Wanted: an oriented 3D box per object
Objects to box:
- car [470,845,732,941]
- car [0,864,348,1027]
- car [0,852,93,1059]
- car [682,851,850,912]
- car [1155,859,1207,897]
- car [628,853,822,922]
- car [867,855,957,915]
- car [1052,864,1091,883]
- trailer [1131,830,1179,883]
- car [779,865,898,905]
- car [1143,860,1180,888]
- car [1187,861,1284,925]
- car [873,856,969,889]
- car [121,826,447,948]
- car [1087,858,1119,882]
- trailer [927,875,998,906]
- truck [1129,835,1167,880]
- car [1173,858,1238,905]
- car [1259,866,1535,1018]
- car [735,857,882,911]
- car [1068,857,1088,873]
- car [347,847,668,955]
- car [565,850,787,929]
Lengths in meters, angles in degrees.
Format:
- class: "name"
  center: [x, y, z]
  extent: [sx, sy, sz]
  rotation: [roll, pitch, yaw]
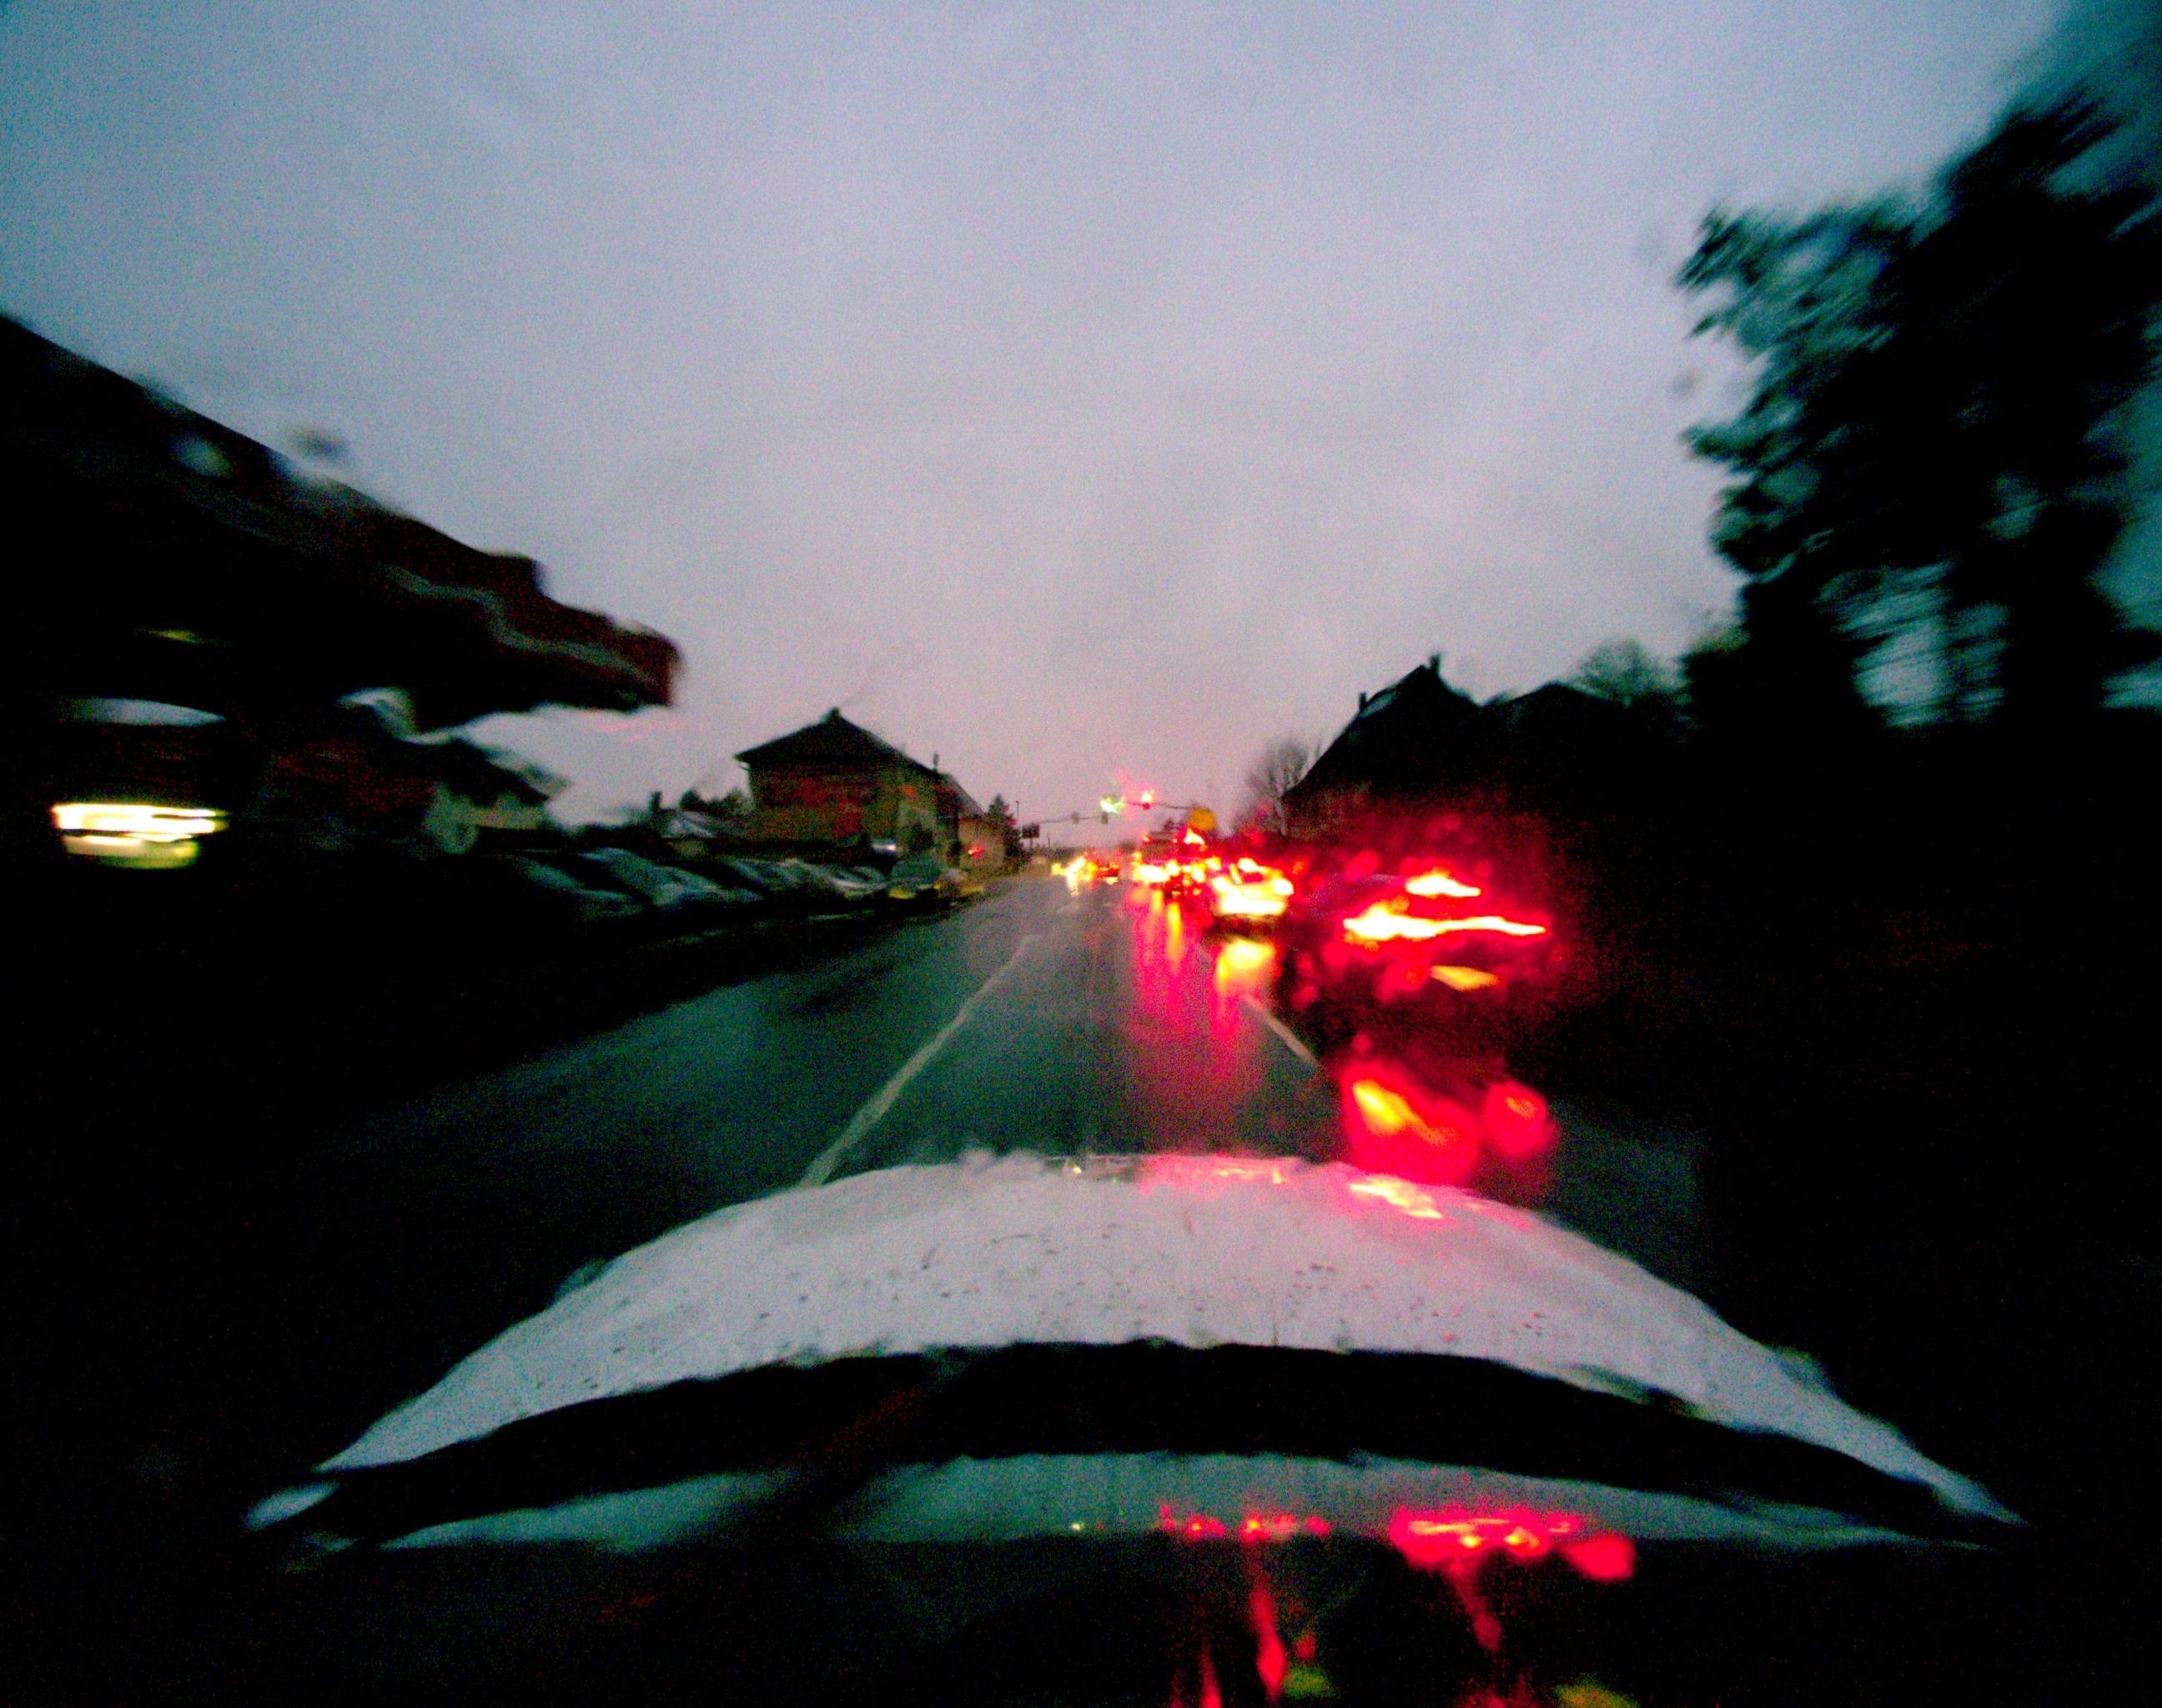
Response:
- class: "car"
  center: [-9.952, 0.780, 17.146]
  extent: [4.261, 1.764, 2.001]
  rotation: [2, 0, 1]
- class: "car"
  center: [-10.223, 0.850, 8.291]
  extent: [3.845, 1.441, 1.840]
  rotation: [-1, 0, 0]
- class: "car"
  center: [-10.079, 0.781, 5.794]
  extent: [3.845, 1.559, 1.840]
  rotation: [-1, 0, 0]
- class: "car"
  center: [-9.577, 0.818, 25.013]
  extent: [4.261, 1.662, 2.001]
  rotation: [2, 0, 1]
- class: "car"
  center: [4.310, 1.006, 35.790]
  extent: [1.829, 1.568, 4.505]
  rotation: [0, -1, 1]
- class: "car"
  center: [-9.612, 0.866, 22.268]
  extent: [4.261, 1.662, 2.137]
  rotation: [2, 0, 1]
- class: "car"
  center: [-5.654, 0.977, 27.898]
  extent: [1.963, 1.830, 4.514]
  rotation: [-2, 0, 2]
- class: "car"
  center: [-0.793, 1.626, 68.249]
  extent: [3.210, 1.508, 1.546]
  rotation: [0, 0, -5]
- class: "trailer"
  center: [4.810, 0.221, 54.937]
  extent: [2.479, 3.241, 10.870]
  rotation: [0, -1, 1]
- class: "car"
  center: [-8.997, 1.125, 30.437]
  extent: [3.878, 1.428, 1.720]
  rotation: [0, -1, 2]
- class: "car"
  center: [4.246, 1.041, 43.629]
  extent: [1.656, 1.439, 4.382]
  rotation: [0, -1, 1]
- class: "car"
  center: [3.573, 0.858, 19.515]
  extent: [1.647, 1.336, 4.274]
  rotation: [0, 0, 2]
- class: "car"
  center: [-9.296, 1.084, 47.630]
  extent: [5.167, 1.791, 2.001]
  rotation: [-1, -1, 3]
- class: "car"
  center: [-13.941, 0.533, 14.657]
  extent: [1.879, 1.869, 4.000]
  rotation: [-1, -1, 1]
- class: "car"
  center: [1.542, 1.148, 58.516]
  extent: [2.041, 1.573, 4.700]
  rotation: [-2, -1, -1]
- class: "trailer"
  center: [-5.074, 1.526, 35.716]
  extent: [1.986, 1.039, 6.106]
  rotation: [-2, 0, 2]
- class: "truck"
  center: [4.938, 0.267, 60.831]
  extent: [2.453, 3.230, 6.273]
  rotation: [0, -1, 1]
- class: "car"
  center: [4.170, 0.879, 27.856]
  extent: [1.695, 1.471, 4.273]
  rotation: [0, 0, 2]
- class: "car"
  center: [3.403, 0.838, 9.827]
  extent: [1.634, 1.366, 4.771]
  rotation: [0, -1, 2]
- class: "car"
  center: [-9.259, 1.000, 27.906]
  extent: [4.261, 1.627, 2.001]
  rotation: [2, 0, 1]
- class: "car"
  center: [-0.294, 1.299, 96.680]
  extent: [1.984, 1.746, 4.005]
  rotation: [-2, -1, 5]
- class: "car"
  center: [-10.051, 0.784, 14.543]
  extent: [4.261, 1.662, 2.001]
  rotation: [2, 0, 1]
- class: "car"
  center: [-9.632, 0.823, 19.643]
  extent: [4.261, 1.662, 2.001]
  rotation: [2, 0, 1]
